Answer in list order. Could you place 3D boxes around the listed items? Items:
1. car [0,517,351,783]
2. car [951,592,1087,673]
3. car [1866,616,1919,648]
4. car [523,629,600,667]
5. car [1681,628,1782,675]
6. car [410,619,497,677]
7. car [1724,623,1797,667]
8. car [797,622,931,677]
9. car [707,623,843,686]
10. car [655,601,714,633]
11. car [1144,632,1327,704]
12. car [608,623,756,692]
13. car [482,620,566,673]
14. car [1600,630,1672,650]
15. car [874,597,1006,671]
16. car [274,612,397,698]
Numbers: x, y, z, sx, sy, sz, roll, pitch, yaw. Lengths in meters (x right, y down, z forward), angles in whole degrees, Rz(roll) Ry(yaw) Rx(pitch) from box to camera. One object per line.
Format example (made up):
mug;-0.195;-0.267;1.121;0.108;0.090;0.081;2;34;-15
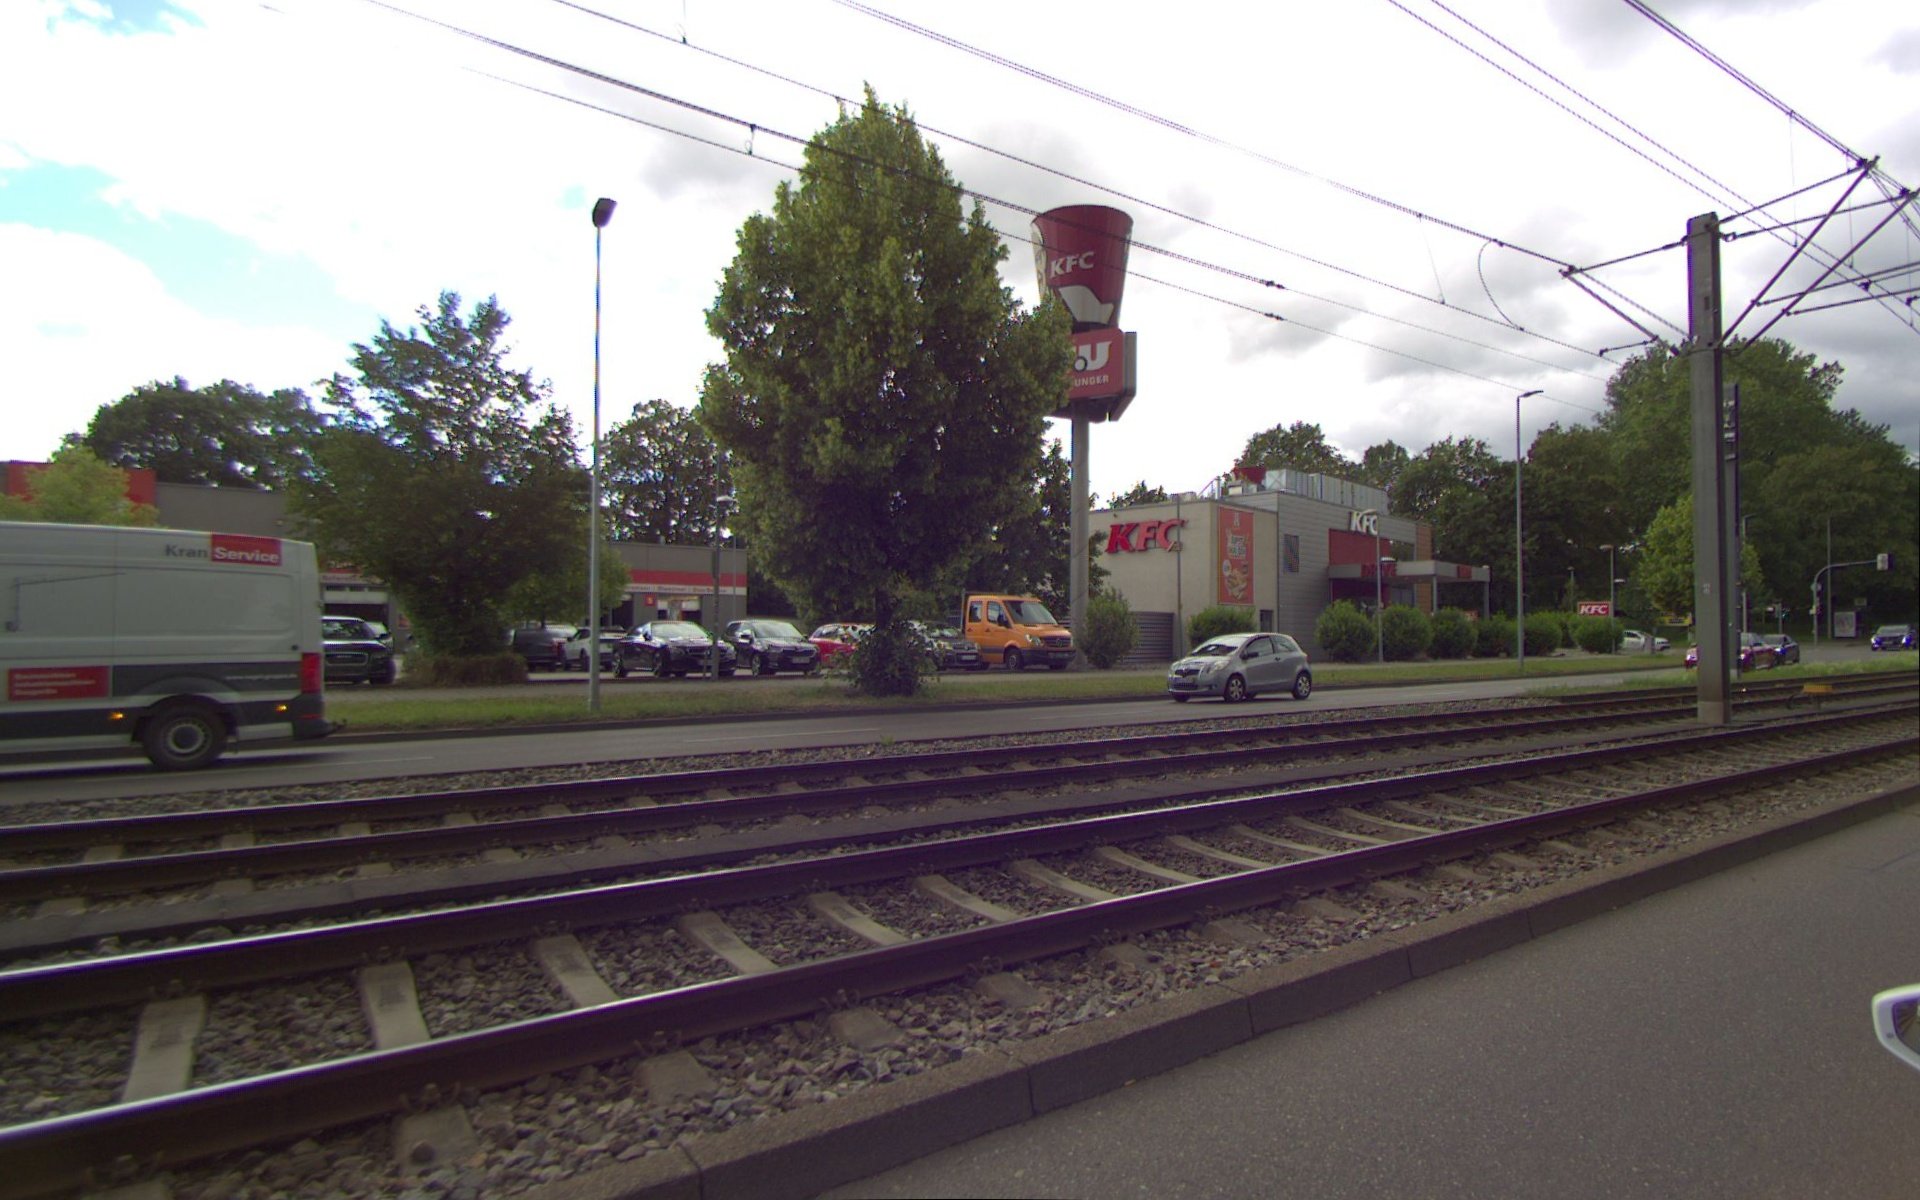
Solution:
car;-9.757;0.516;10.232;5.943;2.532;1.856;1;-3;-37
car;1.705;0.916;30.283;2.038;2.194;3.960;1;0;-35
car;60.422;2.074;65.052;4.212;2.040;1.978;2;-2;-39
car;-15.755;1.879;39.646;1.934;1.407;3.702;1;-3;-37
car;27.781;1.853;36.128;4.442;1.602;1.770;2;-4;-38
car;-15.839;1.478;31.306;1.809;1.669;3.702;1;-2;-37
car;38.864;2.141;48.719;3.966;2.040;1.978;2;-2;-39
car;-2.729;1.325;27.825;1.980;1.253;3.960;1;0;-35
car;-4.953;1.377;26.494;2.073;1.385;3.960;1;0;-35
car;-15.089;0.916;54.862;1.903;1.644;3.701;1;0;-37
car;6.304;1.523;22.896;3.962;1.502;1.980;2;-4;-36
car;-6.886;1.336;24.582;2.174;1.372;4.344;1;0;-35
car;-14.677;1.551;33.725;1.809;1.669;3.702;1;-2;-37
car;48.001;2.837;71.380;1.829;1.426;3.853;1;-2;-36
car;-0.656;0.948;29.449;1.980;1.944;3.960;1;0;-35
car;-12.753;1.037;20.412;1.918;1.440;3.960;1;0;-35
